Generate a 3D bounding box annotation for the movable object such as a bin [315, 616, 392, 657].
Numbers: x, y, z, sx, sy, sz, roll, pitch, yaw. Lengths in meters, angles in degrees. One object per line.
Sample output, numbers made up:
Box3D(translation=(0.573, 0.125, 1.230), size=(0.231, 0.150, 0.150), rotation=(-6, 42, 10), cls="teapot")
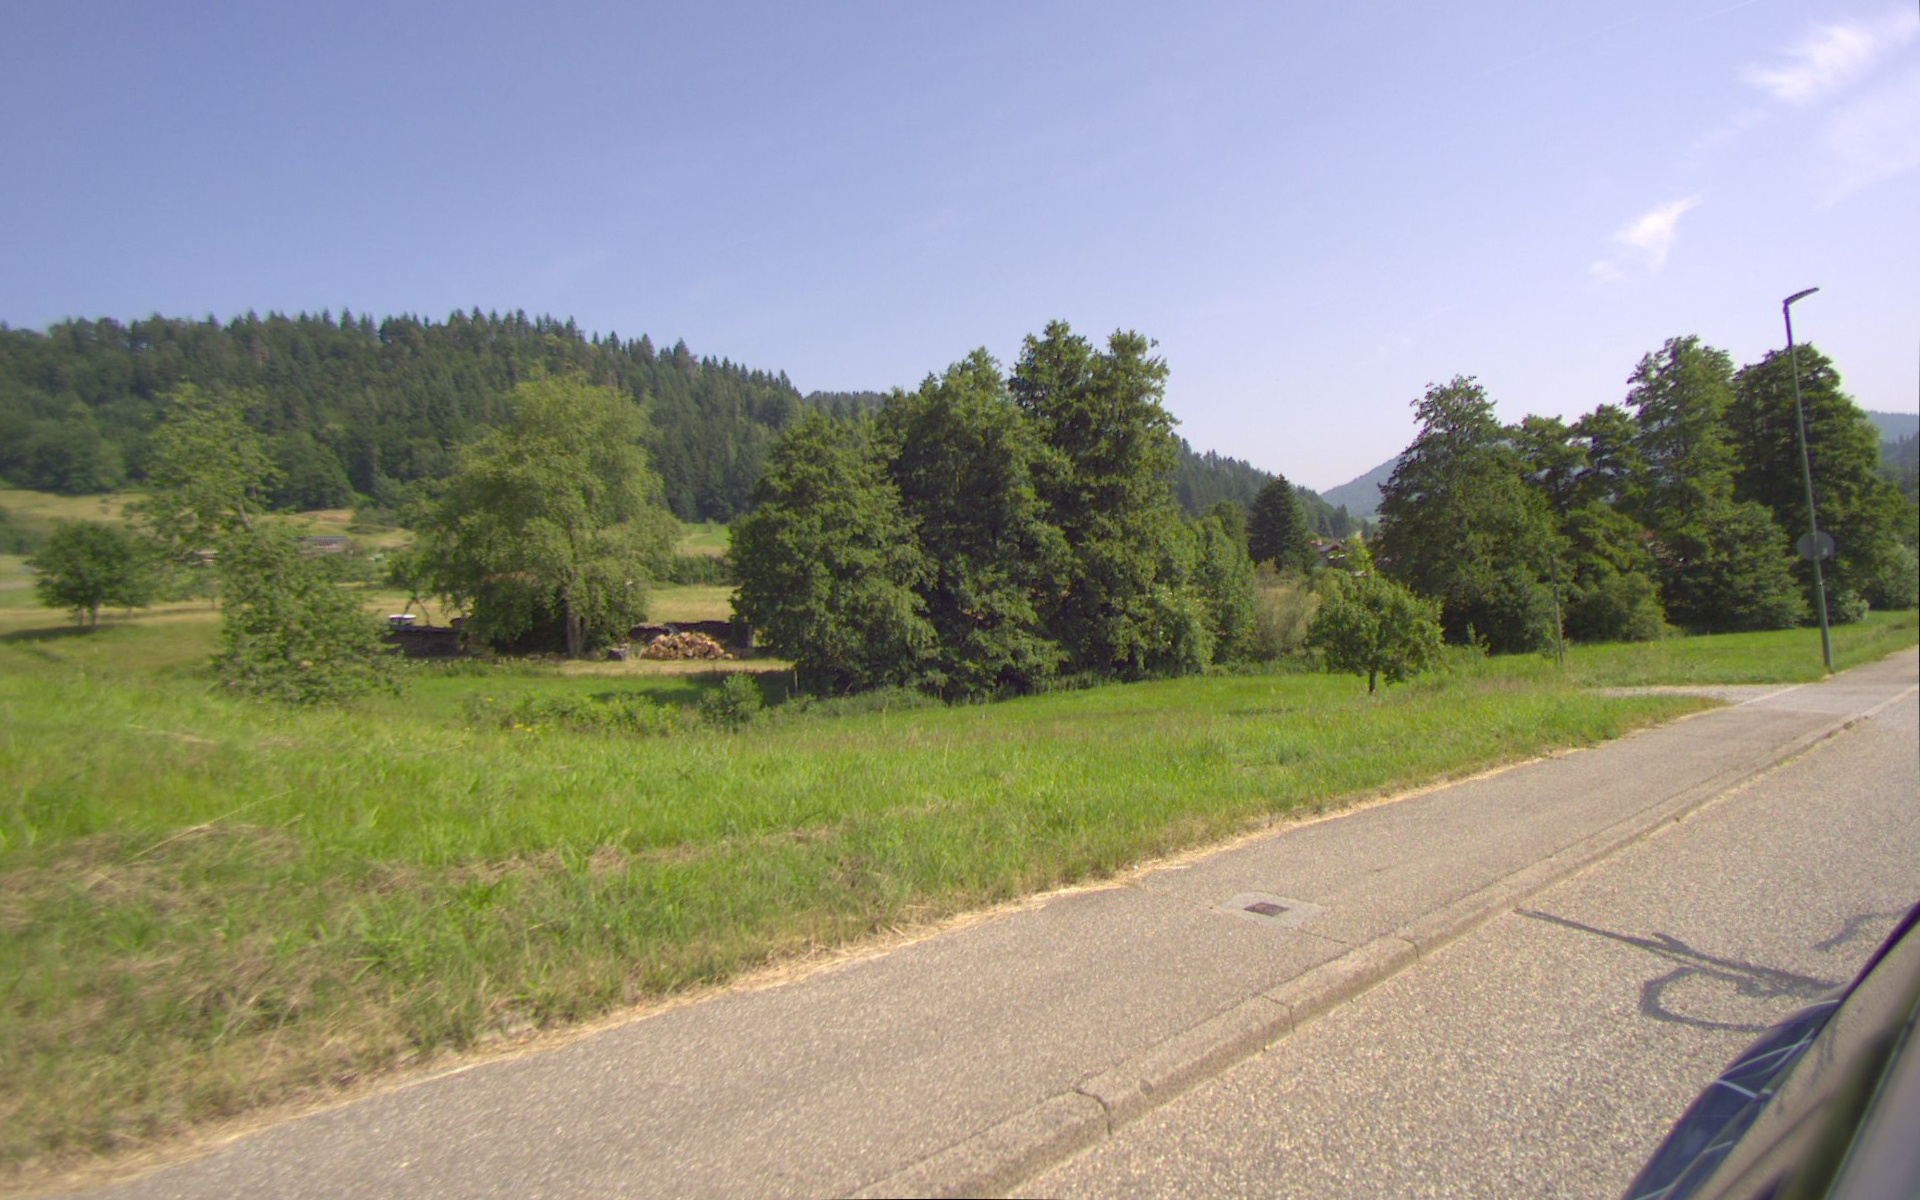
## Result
Box3D(translation=(-43.024, 2.525, 71.796), size=(4.460, 2.631, 1.999), rotation=(-2, 1, -37), cls="movable object such as a bin")
